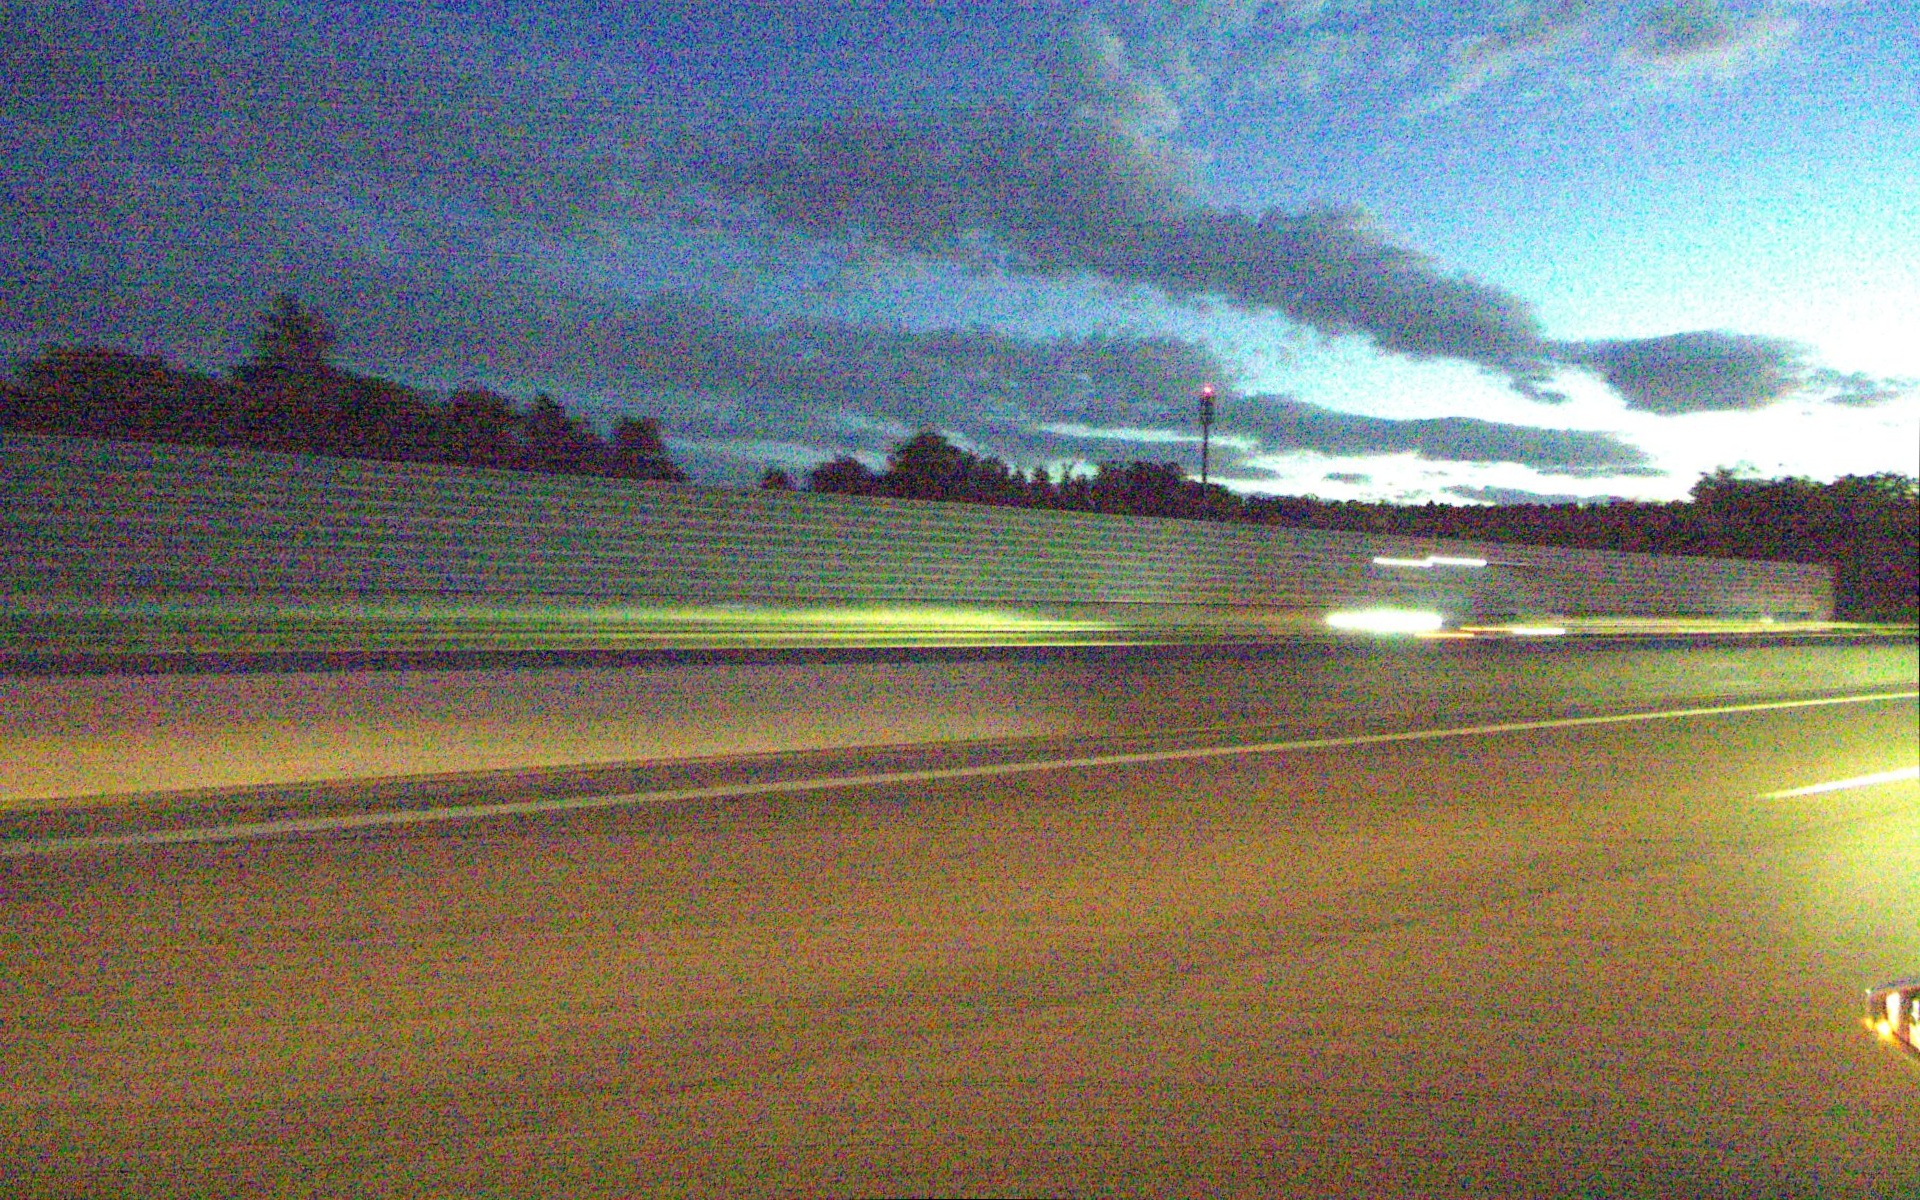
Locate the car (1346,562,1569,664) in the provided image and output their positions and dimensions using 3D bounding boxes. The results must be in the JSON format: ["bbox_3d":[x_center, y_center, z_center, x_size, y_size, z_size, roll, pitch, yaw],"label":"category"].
[{"bbox_3d":[16.960,0.433,34.059,8.113,3.127,2.640,1,0,-29],"label":"car"}]
